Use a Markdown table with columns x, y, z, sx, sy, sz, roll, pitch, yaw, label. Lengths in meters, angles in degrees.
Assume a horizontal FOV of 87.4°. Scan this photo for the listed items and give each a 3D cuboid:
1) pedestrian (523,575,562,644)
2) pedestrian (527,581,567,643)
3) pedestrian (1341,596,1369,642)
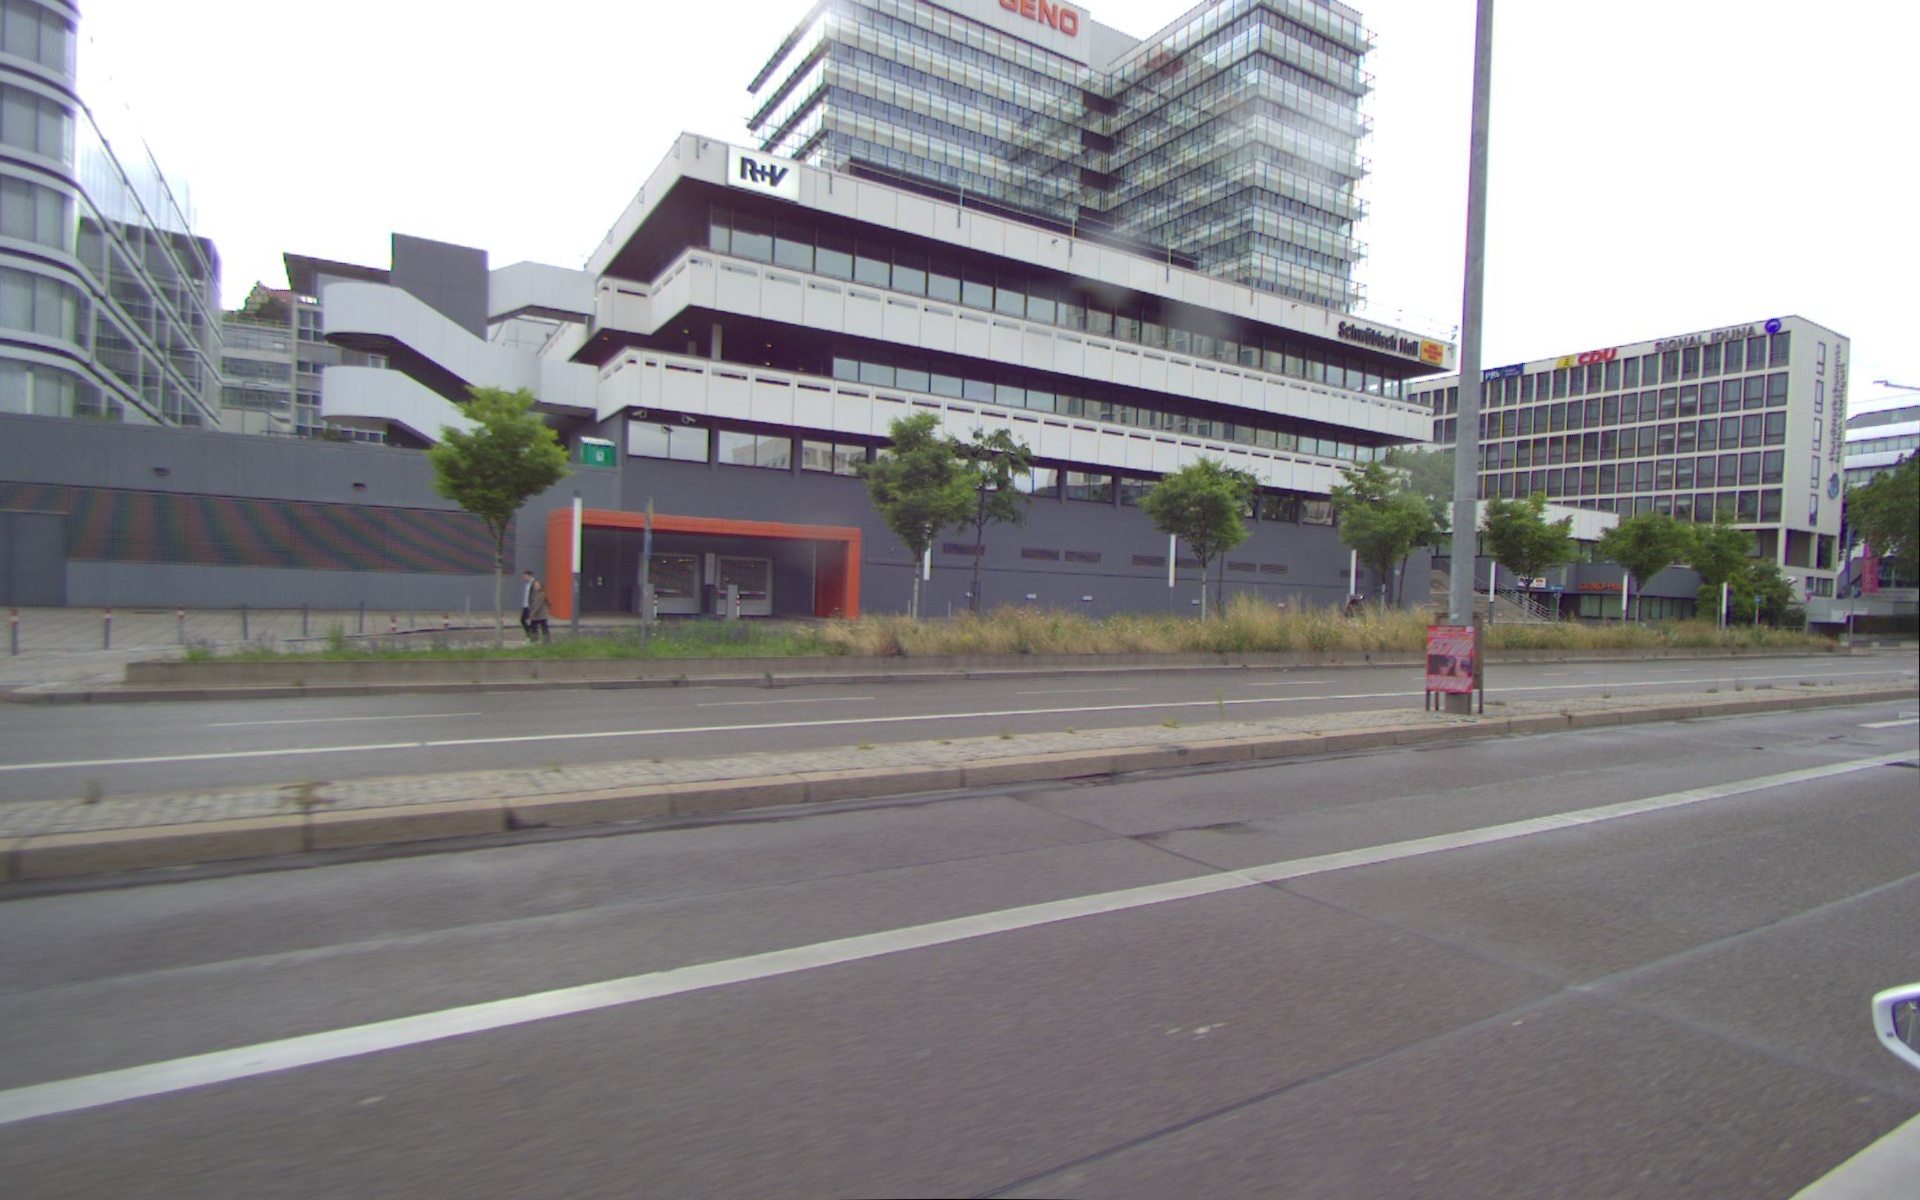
| x | y | z | sx | sy | sz | roll | pitch | yaw | label |
| --- | --- | --- | --- | --- | --- | --- | --- | --- | --- |
| -10.561 | 0.241 | 25.415 | 0.789 | 1.680 | 0.615 | 2 | 0 | -30 | pedestrian |
| -10.163 | 0.293 | 24.696 | 0.789 | 1.465 | 0.615 | 2 | 0 | -30 | pedestrian |
| 16.035 | 0.752 | 40.784 | 0.621 | 1.831 | 0.780 | 2 | 0 | -31 | pedestrian |
